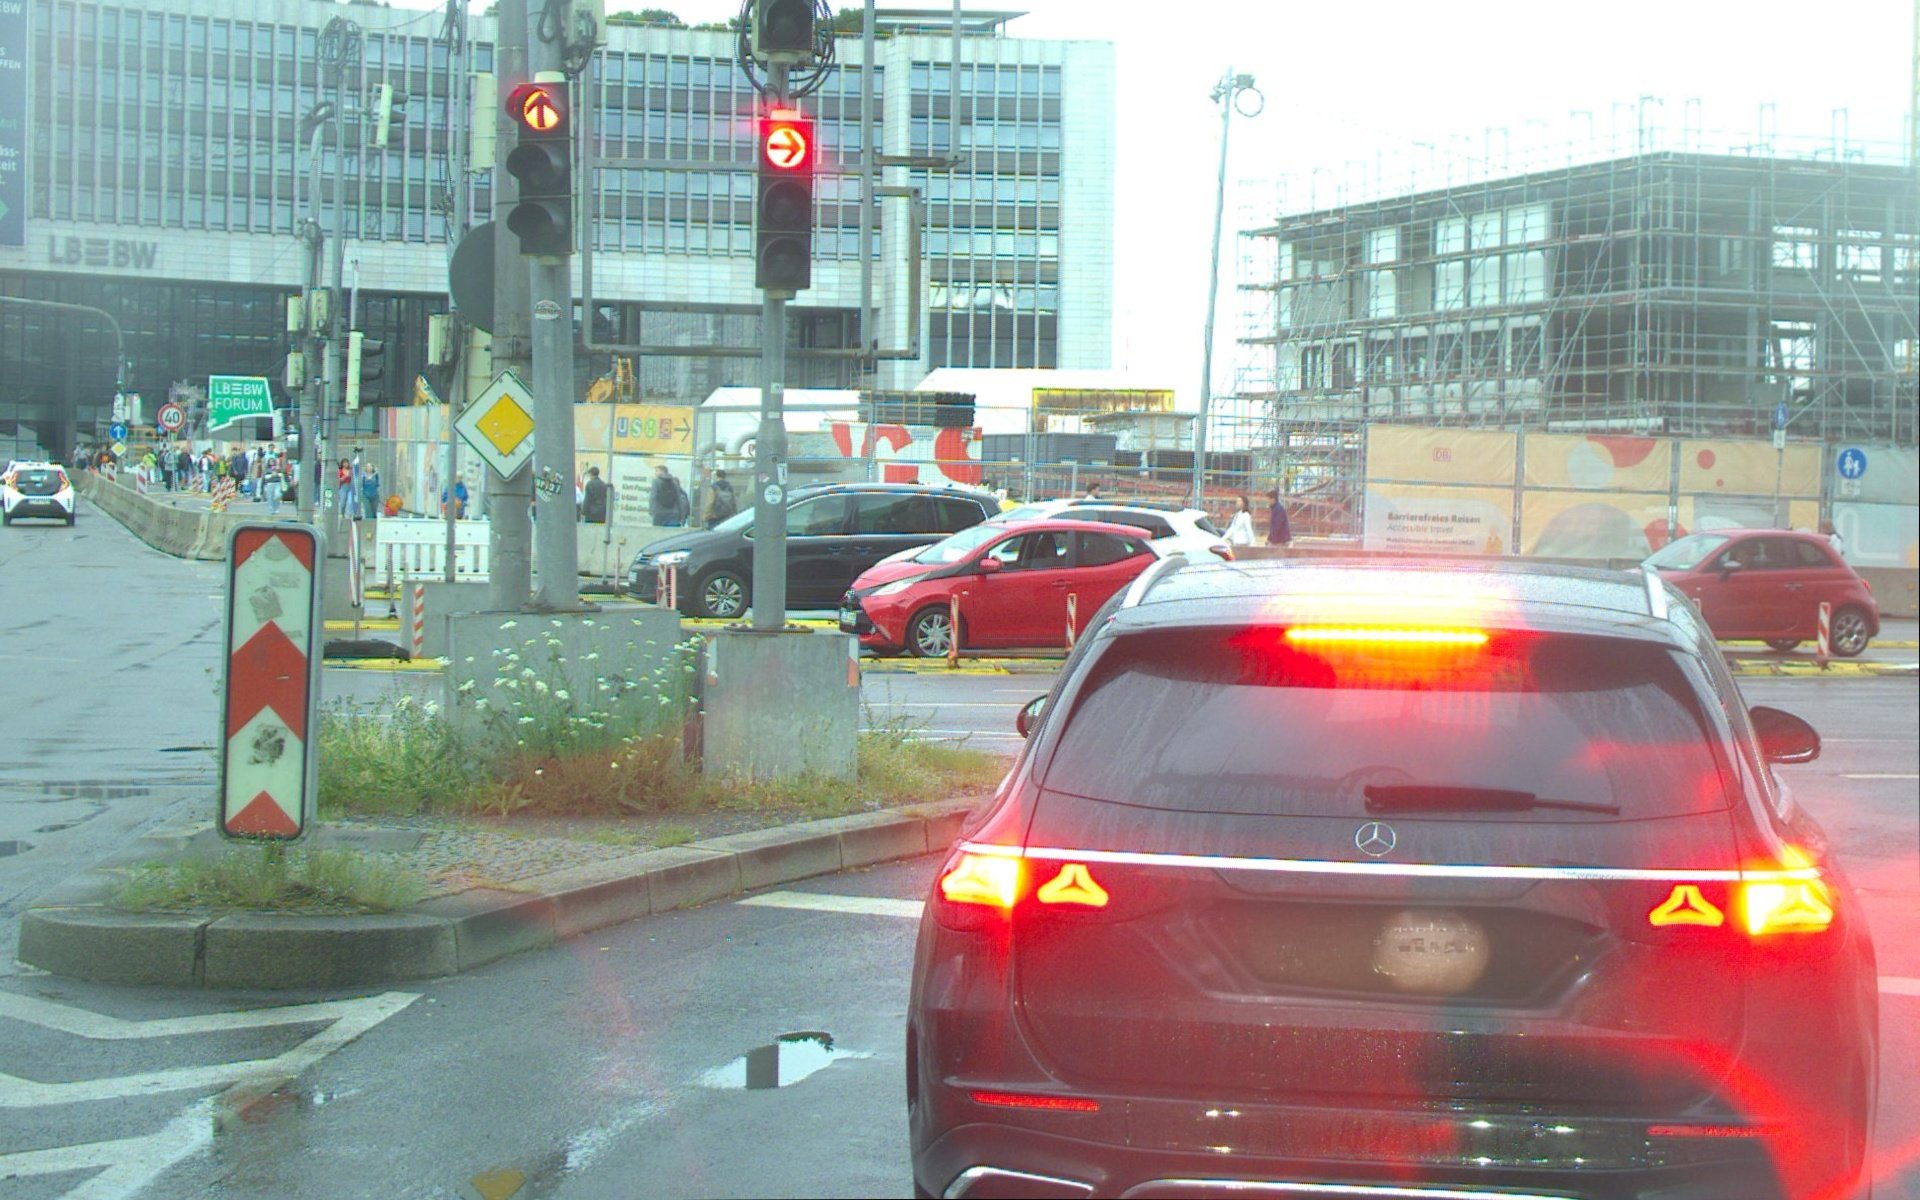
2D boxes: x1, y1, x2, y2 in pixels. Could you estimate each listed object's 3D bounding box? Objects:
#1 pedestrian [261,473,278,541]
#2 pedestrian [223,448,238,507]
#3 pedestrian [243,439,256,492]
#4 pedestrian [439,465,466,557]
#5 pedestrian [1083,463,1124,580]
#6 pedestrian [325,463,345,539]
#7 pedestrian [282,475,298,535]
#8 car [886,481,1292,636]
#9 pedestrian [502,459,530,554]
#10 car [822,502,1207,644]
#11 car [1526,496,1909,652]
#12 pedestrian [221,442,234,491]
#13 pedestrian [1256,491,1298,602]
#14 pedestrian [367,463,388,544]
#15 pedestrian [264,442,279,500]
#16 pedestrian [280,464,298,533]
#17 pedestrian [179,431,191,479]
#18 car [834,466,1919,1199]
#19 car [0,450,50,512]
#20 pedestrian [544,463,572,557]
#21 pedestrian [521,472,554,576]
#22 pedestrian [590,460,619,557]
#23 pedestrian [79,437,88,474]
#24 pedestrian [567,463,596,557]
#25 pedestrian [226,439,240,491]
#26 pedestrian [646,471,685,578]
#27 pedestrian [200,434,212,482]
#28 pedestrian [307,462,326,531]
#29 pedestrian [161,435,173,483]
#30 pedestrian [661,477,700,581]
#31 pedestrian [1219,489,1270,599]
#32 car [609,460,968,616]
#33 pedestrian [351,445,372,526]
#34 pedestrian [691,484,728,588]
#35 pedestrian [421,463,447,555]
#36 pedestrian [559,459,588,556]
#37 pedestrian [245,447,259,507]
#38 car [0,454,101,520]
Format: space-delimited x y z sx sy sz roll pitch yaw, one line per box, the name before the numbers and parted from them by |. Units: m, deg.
pedestrian | -19.431 -2.616 96.741 0.361 1.891 0.576 2 0 -18
pedestrian | -23.925 -4.016 112.742 0.361 1.891 0.576 2 0 -18
pedestrian | -25.911 -4.895 125.378 0.361 1.891 0.576 2 0 -18
pedestrian | -10.576 -1.855 71.657 0.361 1.891 0.576 2 0 -22
pedestrian | 2.361 -1.286 56.613 0.574 1.891 0.362 2 0 -2
pedestrian | -15.813 -2.509 87.043 0.361 1.891 0.576 2 0 -18
pedestrian | -21.323 -3.014 109.447 0.361 1.891 0.576 2 0 -18
car | 1.425 -0.453 38.429 4.039 1.547 2.001 2 0 -19
pedestrian | -8.942 -1.873 69.200 0.361 1.891 0.576 2 0 -22
car | 0.547 -0.267 35.063 3.532 1.300 1.666 2 0 -19
car | 9.112 -0.308 41.453 3.985 1.702 2.001 2 0 -18
pedestrian | -28.718 -5.252 134.825 0.361 1.891 0.576 2 0 -18
pedestrian | 5.472 -0.927 59.329 0.574 1.891 0.362 2 0 -11
pedestrian | -13.829 -2.283 81.599 0.361 1.891 0.576 2 0 -18
pedestrian | -22.812 -4.278 113.982 0.361 1.891 0.576 2 0 -18
pedestrian | -18.647 -2.814 95.518 0.361 1.891 0.576 2 0 -18
pedestrian | -30.929 -5.796 137.189 0.361 1.891 0.576 2 0 -18
car | 0.911 0.577 7.669 1.891 1.538 3.993 2 0 5
car | -29.139 -3.658 105.965 1.993 1.760 4.420 2 0 -15
pedestrian | -8.126 -1.814 69.490 0.361 1.891 0.576 2 0 -22
pedestrian | -7.749 -1.390 63.051 0.361 1.891 0.576 2 0 -26
pedestrian | -6.973 -1.794 67.445 0.361 1.891 0.576 2 0 -22
pedestrian | -45.346 -7.473 177.854 0.361 1.891 0.576 2 0 -15
pedestrian | -7.675 -1.824 69.689 0.361 1.891 0.576 2 0 -22
pedestrian | -26.472 -4.911 125.182 0.361 1.891 0.576 2 0 -18
pedestrian | -5.284 -1.360 61.688 0.361 1.891 0.576 2 0 -44
pedestrian | -30.138 -5.678 137.475 0.361 1.891 0.576 2 0 -18
pedestrian | -17.876 -2.878 95.501 0.361 1.891 0.576 2 0 -18
pedestrian | -31.570 -5.621 136.934 0.361 1.891 0.576 2 0 -18
pedestrian | -5.167 -1.310 63.624 0.575 1.891 0.362 2 0 13
pedestrian | 4.945 -0.971 59.827 0.655 1.895 0.632 2 0 -14
car | -2.119 -0.742 42.092 3.985 1.728 2.001 2 0 -16
pedestrian | -14.182 -2.714 81.452 0.361 1.891 0.576 2 0 -18
pedestrian | -4.579 -1.168 62.745 0.361 1.891 0.576 2 0 -37
pedestrian | -10.948 -1.882 71.537 0.361 1.891 0.576 2 0 -22
pedestrian | -7.580 -1.814 67.448 0.361 1.891 0.576 2 0 -22
pedestrian | -22.877 -3.975 111.045 0.361 1.891 0.576 2 0 -14
car | -22.450 -2.775 84.823 1.780 1.468 3.559 2 0 -4
